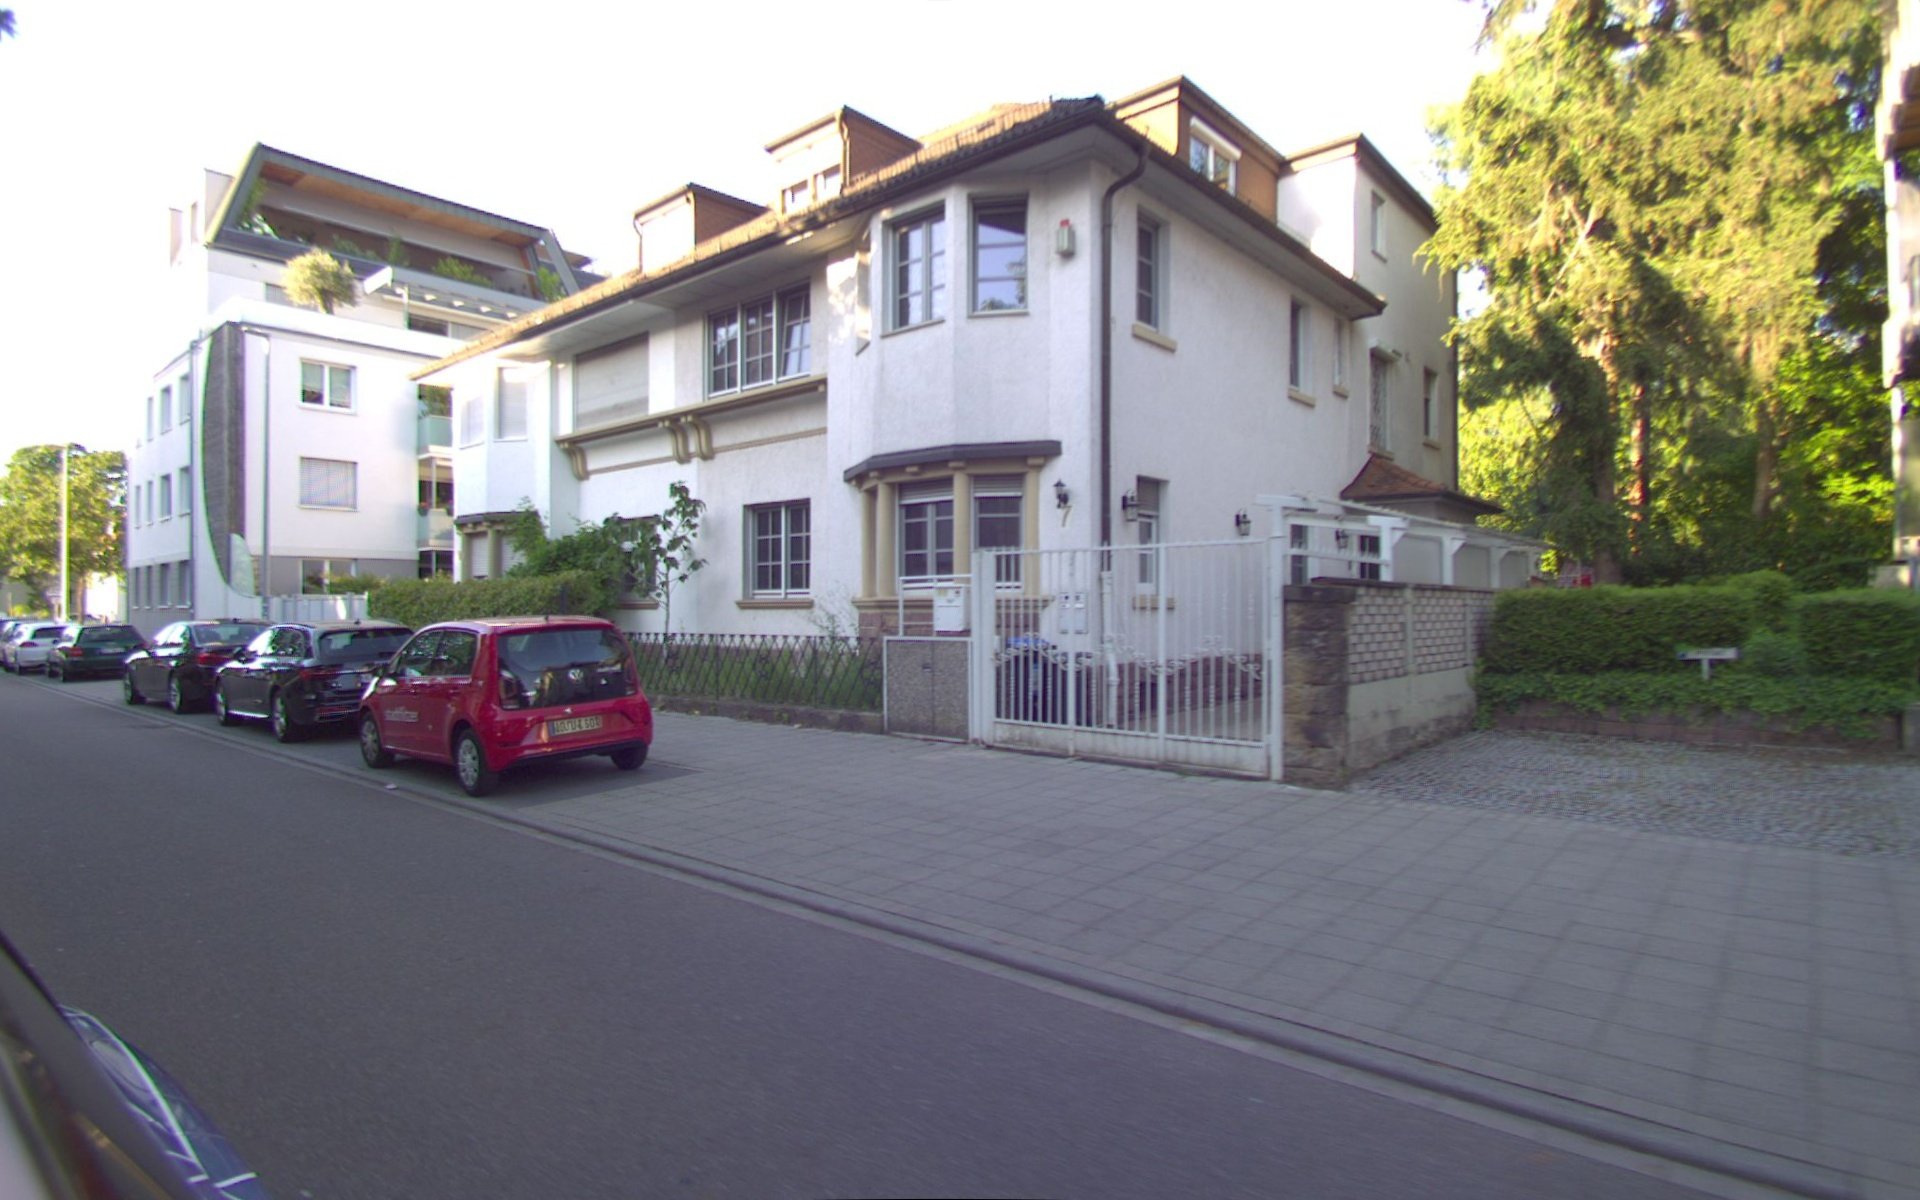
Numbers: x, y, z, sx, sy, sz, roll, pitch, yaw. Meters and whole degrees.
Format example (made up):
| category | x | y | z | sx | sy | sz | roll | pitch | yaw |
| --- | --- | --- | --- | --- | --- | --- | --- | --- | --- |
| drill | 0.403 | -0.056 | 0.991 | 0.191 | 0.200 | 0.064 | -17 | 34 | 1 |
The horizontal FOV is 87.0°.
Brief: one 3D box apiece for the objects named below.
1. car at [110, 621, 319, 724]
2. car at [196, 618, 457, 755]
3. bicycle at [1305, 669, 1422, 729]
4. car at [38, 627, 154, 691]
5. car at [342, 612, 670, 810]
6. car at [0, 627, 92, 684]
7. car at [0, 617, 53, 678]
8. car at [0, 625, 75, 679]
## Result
| category | x | y | z | sx | sy | sz | roll | pitch | yaw |
| --- | --- | --- | --- | --- | --- | --- | --- | --- | --- |
| car | -12.766 | 1.130 | 17.228 | 4.559 | 1.470 | 1.722 | -1 | 1 | 39 |
| car | -8.500 | 1.008 | 13.416 | 4.376 | 1.470 | 1.720 | -1 | 1 | 41 |
| bicycle | 4.727 | 1.148 | 11.893 | 1.196 | 0.625 | 0.428 | -1 | -1 | 41 |
| car | -21.502 | 1.404 | 25.138 | 3.907 | 1.405 | 1.700 | -1 | 0 | 43 |
| car | -4.440 | 0.897 | 9.702 | 3.429 | 1.494 | 1.633 | -1 | 1 | 43 |
| car | -25.753 | 1.513 | 28.364 | 3.907 | 1.405 | 1.700 | -2 | 0 | 43 |
| car | -33.127 | 1.629 | 35.171 | 4.197 | 1.963 | 1.888 | -1 | 1 | 42 |
| car | -28.930 | 1.580 | 31.454 | 3.907 | 1.509 | 1.700 | -2 | 0 | 43 |
